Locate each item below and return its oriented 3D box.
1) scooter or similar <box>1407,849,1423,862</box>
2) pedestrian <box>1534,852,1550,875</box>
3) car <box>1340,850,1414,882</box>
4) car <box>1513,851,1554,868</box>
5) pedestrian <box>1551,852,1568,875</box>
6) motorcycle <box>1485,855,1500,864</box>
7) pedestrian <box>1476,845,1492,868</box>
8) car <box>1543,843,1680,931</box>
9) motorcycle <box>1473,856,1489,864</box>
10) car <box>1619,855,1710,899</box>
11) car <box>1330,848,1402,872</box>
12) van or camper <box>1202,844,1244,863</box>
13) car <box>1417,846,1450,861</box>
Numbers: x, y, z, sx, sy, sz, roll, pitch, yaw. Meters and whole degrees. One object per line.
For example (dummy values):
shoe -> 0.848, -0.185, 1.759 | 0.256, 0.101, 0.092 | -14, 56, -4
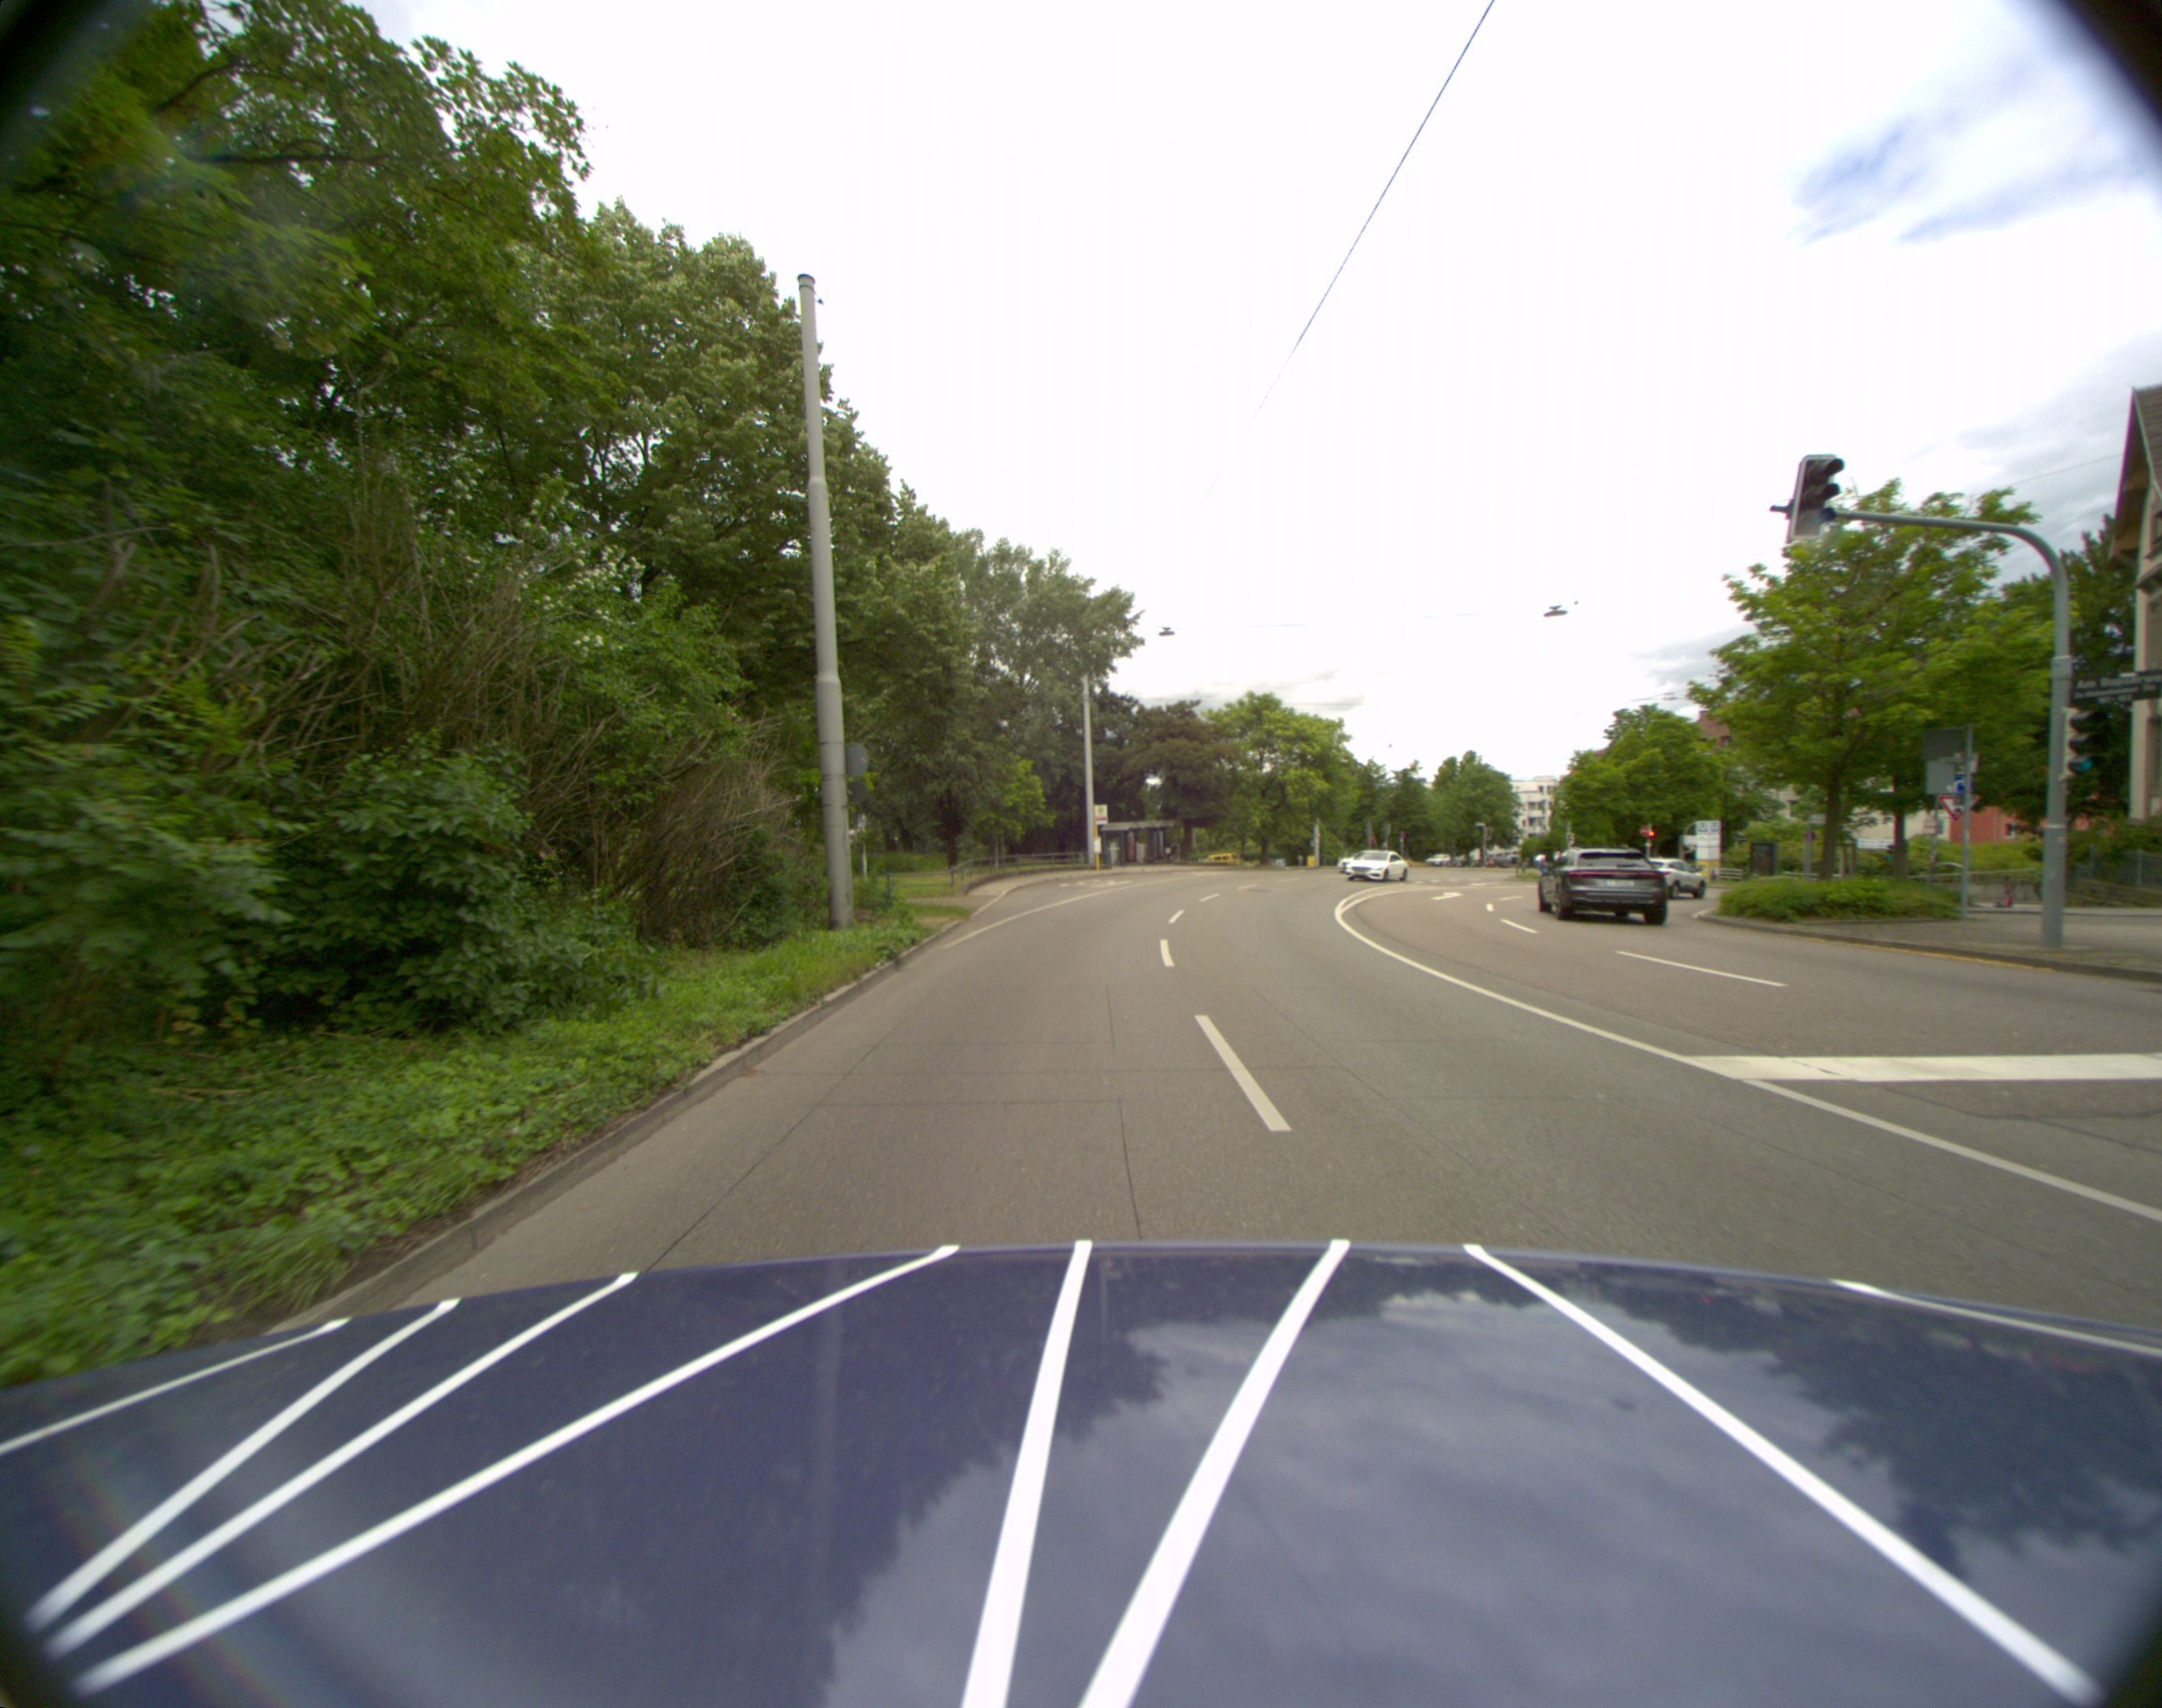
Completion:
scooter or similar -> 32.484, 0.102, 73.959 | 1.318, 1.241, 0.464 | 1, 1, 11
pedestrian -> 34.823, 0.701, 57.399 | 0.727, 1.703, 0.616 | 2, 4, -7
car -> 14.349, 0.534, 36.716 | 1.994, 1.390, 4.239 | 2, 2, 41
car -> 55.118, 0.683, 92.620 | 2.004, 2.002, 3.776 | 1, 1, -37
pedestrian -> 36.346, 0.740, 57.740 | 0.727, 1.703, 0.616 | 2, 4, -7
motorcycle -> 50.720, 0.713, 93.640 | 2.059, 1.027, 0.753 | 1, 1, -31
pedestrian -> 33.342, 0.224, 62.826 | 0.856, 1.875, 0.965 | 1, 1, 7
car -> 12.304, 0.664, 17.953 | 1.897, 1.781, 4.767 | 1, 1, 26
motorcycle -> 49.778, 0.745, 94.500 | 2.059, 1.027, 0.753 | 1, 1, -31
car -> 23.725, 0.880, 30.858 | 4.385, 1.644, 1.896 | 1, 1, -39
car -> 17.599, 0.357, 46.903 | 4.006, 1.455, 1.893 | 0, 0, -27
van or camper -> 16.316, -0.077, 87.524 | 1.893, 1.966, 4.457 | -2, 3, -44
car -> 47.183, -0.014, 101.672 | 4.724, 1.893, 1.994 | 1, 1, -39
